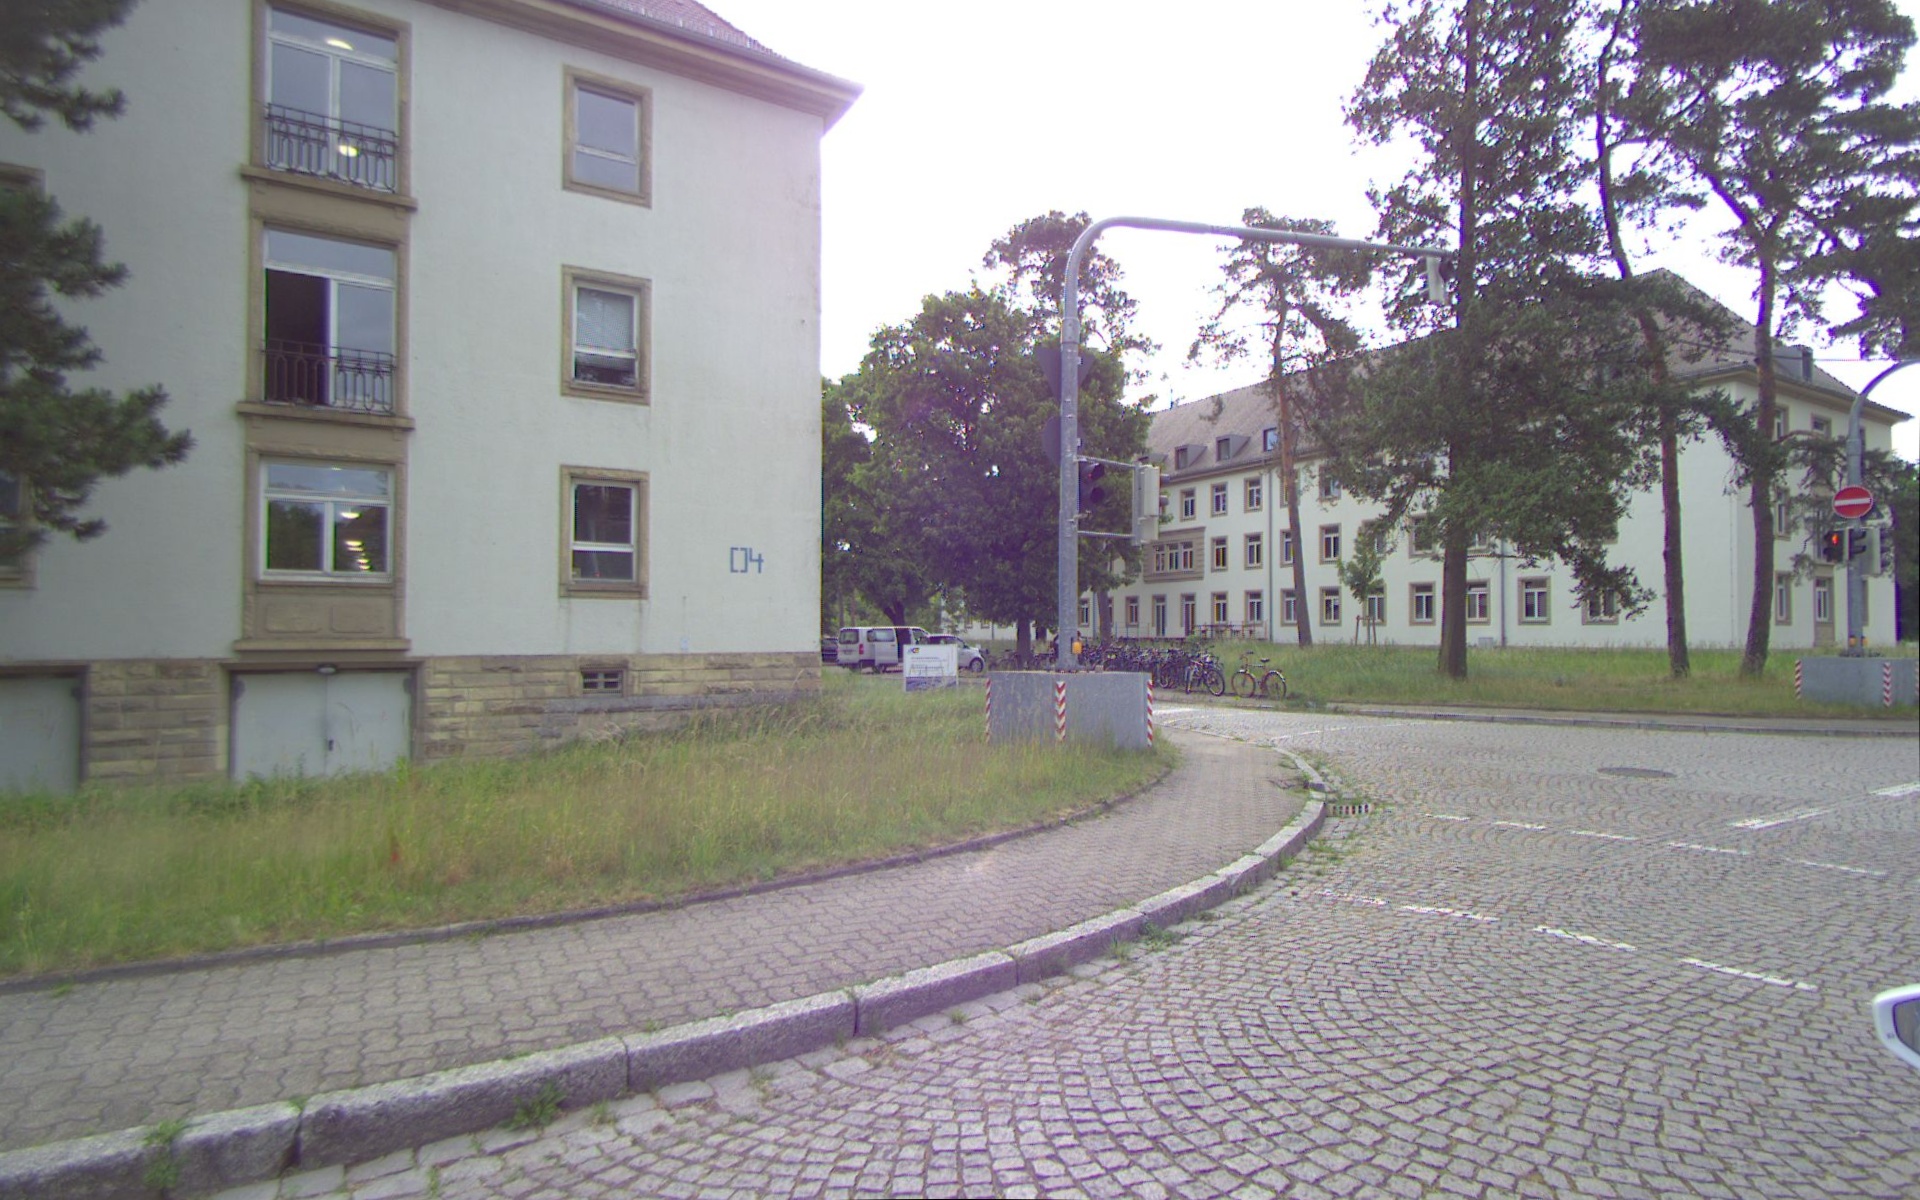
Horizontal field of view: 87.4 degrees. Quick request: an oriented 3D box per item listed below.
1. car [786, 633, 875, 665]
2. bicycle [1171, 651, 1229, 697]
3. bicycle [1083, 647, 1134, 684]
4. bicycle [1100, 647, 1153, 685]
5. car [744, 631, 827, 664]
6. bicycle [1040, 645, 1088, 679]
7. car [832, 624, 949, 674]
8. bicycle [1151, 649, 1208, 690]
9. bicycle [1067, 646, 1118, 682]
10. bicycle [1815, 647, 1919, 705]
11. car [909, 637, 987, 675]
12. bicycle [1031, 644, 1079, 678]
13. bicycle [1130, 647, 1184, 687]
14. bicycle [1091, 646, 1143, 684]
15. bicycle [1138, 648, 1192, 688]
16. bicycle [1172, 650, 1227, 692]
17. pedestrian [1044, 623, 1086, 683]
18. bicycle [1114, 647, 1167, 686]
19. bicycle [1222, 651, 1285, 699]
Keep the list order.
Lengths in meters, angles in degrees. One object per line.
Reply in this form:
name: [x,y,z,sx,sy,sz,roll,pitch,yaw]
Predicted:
car: [-6.443,2.419,49.996,4.051,1.547,1.789,2,-1,-34]
bicycle: [5.994,1.831,25.144,0.510,1.093,1.457,1,-3,-32]
bicycle: [4.491,1.959,30.361,1.567,1.093,0.512,1,-2,-31]
bicycle: [4.919,1.927,29.644,1.567,1.093,0.512,1,-2,-31]
car: [-9.461,2.550,54.595,4.052,1.716,1.789,2,-1,-34]
bicycle: [3.363,1.983,32.391,1.567,1.093,0.512,1,-2,-31]
car: [-2.875,2.028,42.377,4.878,1.978,1.839,2,-2,-44]
bicycle: [6.047,1.893,27.622,1.565,1.093,0.512,1,-2,-28]
bicycle: [4.095,1.976,31.050,1.567,1.093,0.512,1,-2,-31]
bicycle: [17.968,1.491,19.904,0.510,1.079,1.457,0,-2,-32]
car: [-0.473,2.201,39.826,2.756,1.446,1.509,1,-1,-31]
bicycle: [3.106,1.983,32.820,1.567,1.093,0.512,1,-2,-31]
bicycle: [5.600,1.895,28.595,1.567,1.093,0.512,1,-2,-31]
bicycle: [4.689,1.930,30.032,1.567,1.093,0.512,1,-2,-31]
bicycle: [5.775,1.895,28.280,1.567,1.093,0.512,1,-2,-31]
bicycle: [6.458,1.895,27.081,1.569,1.093,0.511,2,-3,-34]
pedestrian: [3.246,1.621,31.241,1.135,1.812,1.064,-1,-1,-2]
bicycle: [5.247,1.905,29.116,1.567,1.093,0.512,1,-2,-31]
bicycle: [6.949,1.760,23.815,0.510,1.079,1.457,1,-3,-32]
